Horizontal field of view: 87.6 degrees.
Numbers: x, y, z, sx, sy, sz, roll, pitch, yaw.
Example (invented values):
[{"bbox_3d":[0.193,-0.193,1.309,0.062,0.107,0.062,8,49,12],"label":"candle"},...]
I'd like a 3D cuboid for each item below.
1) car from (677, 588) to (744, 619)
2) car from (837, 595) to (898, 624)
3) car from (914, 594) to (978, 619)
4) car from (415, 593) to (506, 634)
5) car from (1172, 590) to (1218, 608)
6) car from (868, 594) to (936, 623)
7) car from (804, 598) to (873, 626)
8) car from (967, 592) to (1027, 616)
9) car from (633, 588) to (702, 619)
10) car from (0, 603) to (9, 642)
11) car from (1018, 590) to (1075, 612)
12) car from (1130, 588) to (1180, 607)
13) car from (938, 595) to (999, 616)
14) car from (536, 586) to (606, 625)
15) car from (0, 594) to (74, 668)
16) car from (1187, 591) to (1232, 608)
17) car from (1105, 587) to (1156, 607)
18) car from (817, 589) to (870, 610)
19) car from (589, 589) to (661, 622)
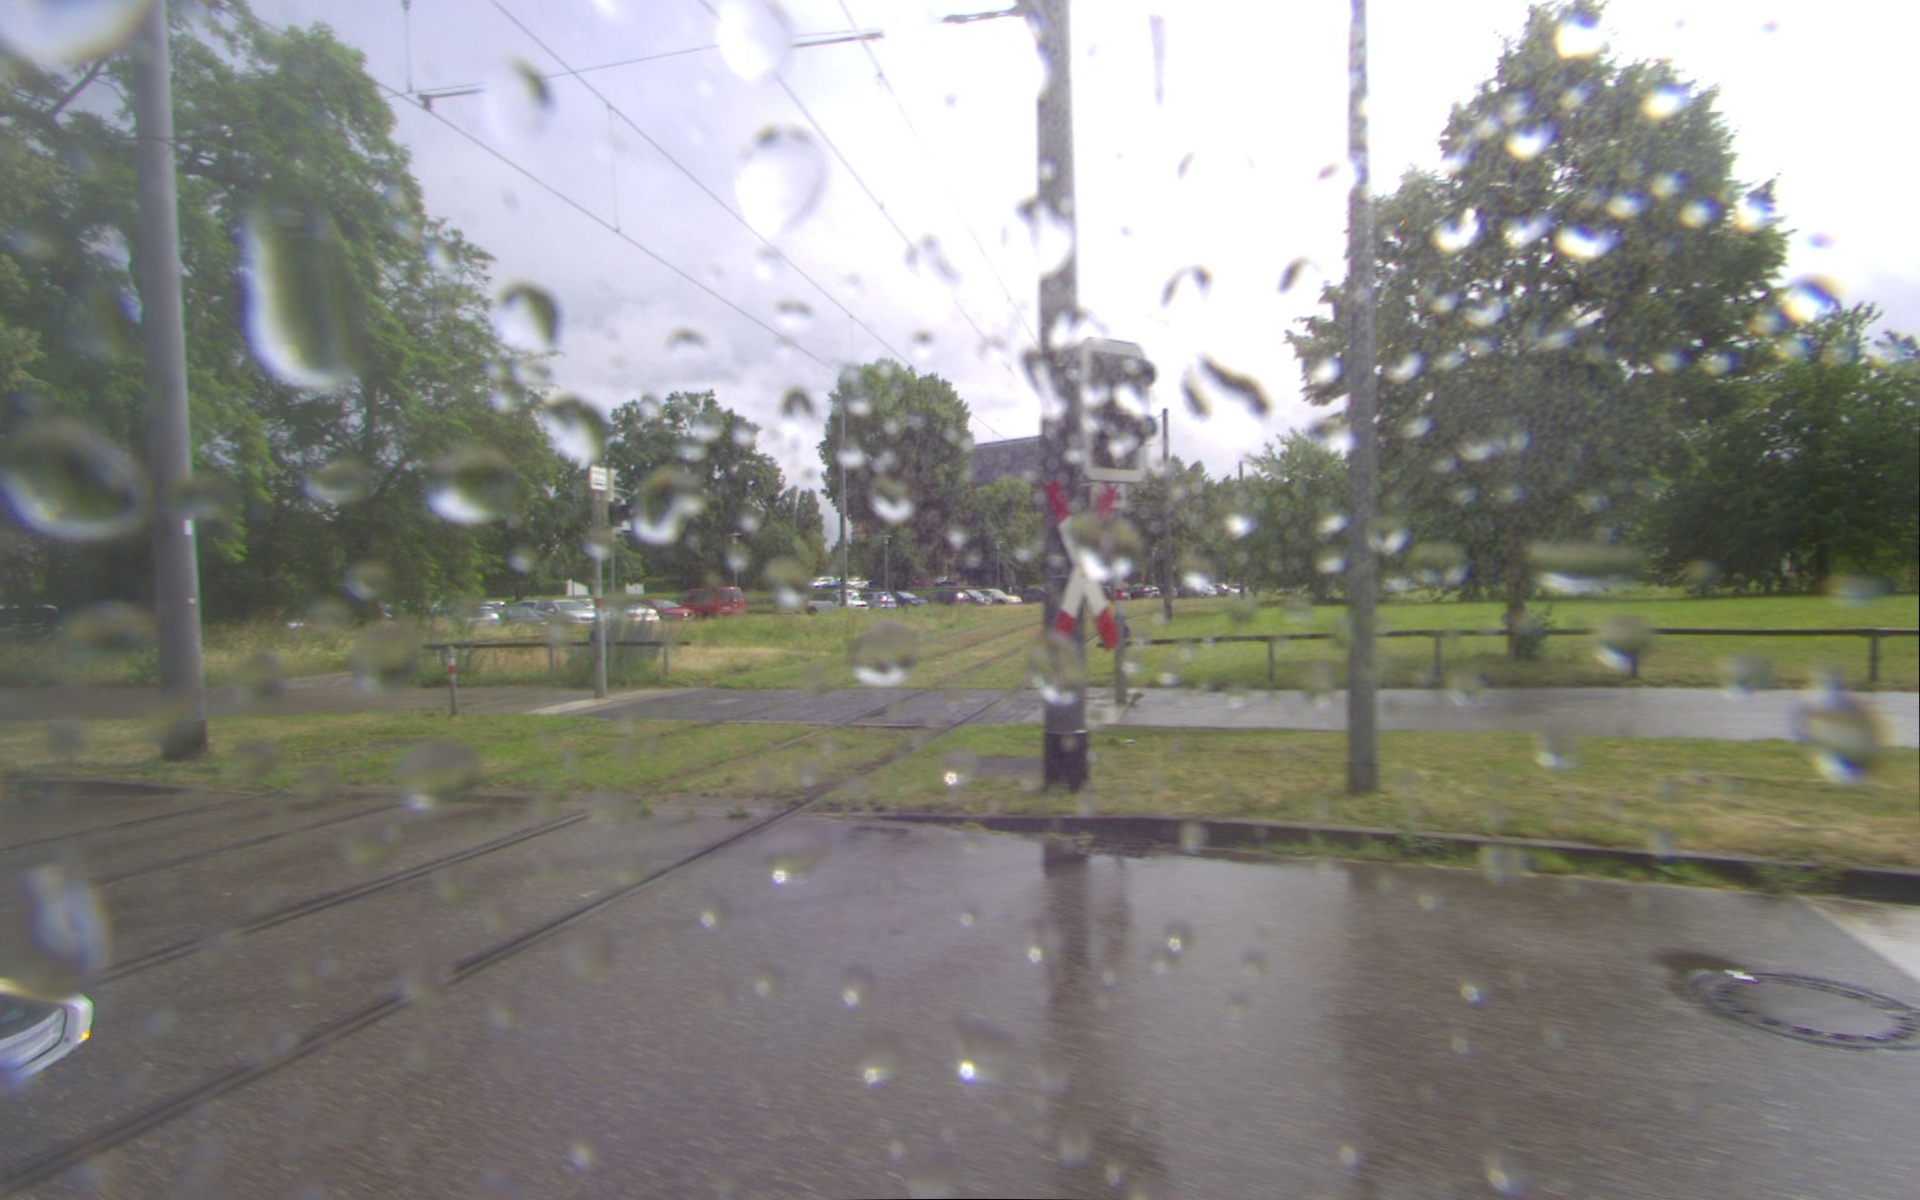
[{"bbox_3d":[-12.737,0.170,51.088,3.612,1.531,1.634,0,1,44],"label":"car"},{"bbox_3d":[-5.619,0.588,60.649,3.585,1.682,1.538,-1,1,39],"label":"car"},{"bbox_3d":[-0.939,0.439,66.351,3.931,1.580,1.836,-1,1,39],"label":"car"},{"bbox_3d":[-20.459,0.548,40.988,3.931,1.580,1.836,-1,1,39],"label":"car"},{"bbox_3d":[22.764,-0.090,97.010,3.931,1.580,1.836,-1,1,39],"label":"car"},{"bbox_3d":[-3.669,0.517,62.787,3.953,1.737,1.984,-1,1,40],"label":"car"},{"bbox_3d":[-7.140,0.688,58.860,3.952,1.548,1.785,-1,1,39],"label":"car"},{"bbox_3d":[2.585,0.277,70.517,3.931,1.580,1.836,-1,1,39],"label":"car"},{"bbox_3d":[-14.389,0.171,49.196,3.570,1.481,1.631,0,1,42],"label":"car"},{"bbox_3d":[-37.738,0.829,38.263,3.537,1.364,1.650,3,4,40],"label":"car"},{"bbox_3d":[6.550,0.092,75.953,3.931,1.580,1.836,-1,1,39],"label":"car"},{"bbox_3d":[17.472,-0.207,89.797,3.931,1.580,1.836,-1,1,39],"label":"car"},{"bbox_3d":[0.576,0.398,68.607,3.931,1.325,1.836,-1,1,39],"label":"car"},{"bbox_3d":[-17.763,0.257,45.680,3.610,1.681,1.536,0,1,43],"label":"car"},{"bbox_3d":[-29.432,0.902,31.272,5.104,2.086,2.094,1,3,43],"label":"car"},{"bbox_3d":[24.588,-0.057,98.692,3.931,1.580,1.836,-1,1,39],"label":"car"},{"bbox_3d":[14.622,-0.273,85.954,3.931,1.580,1.836,-1,1,39],"label":"car"},{"bbox_3d":[-8.858,-0.030,76.138,3.952,1.548,1.785,-1,1,39],"label":"car"},{"bbox_3d":[-15.754,0.251,47.067,3.570,1.481,1.631,0,1,42],"label":"car"}]
